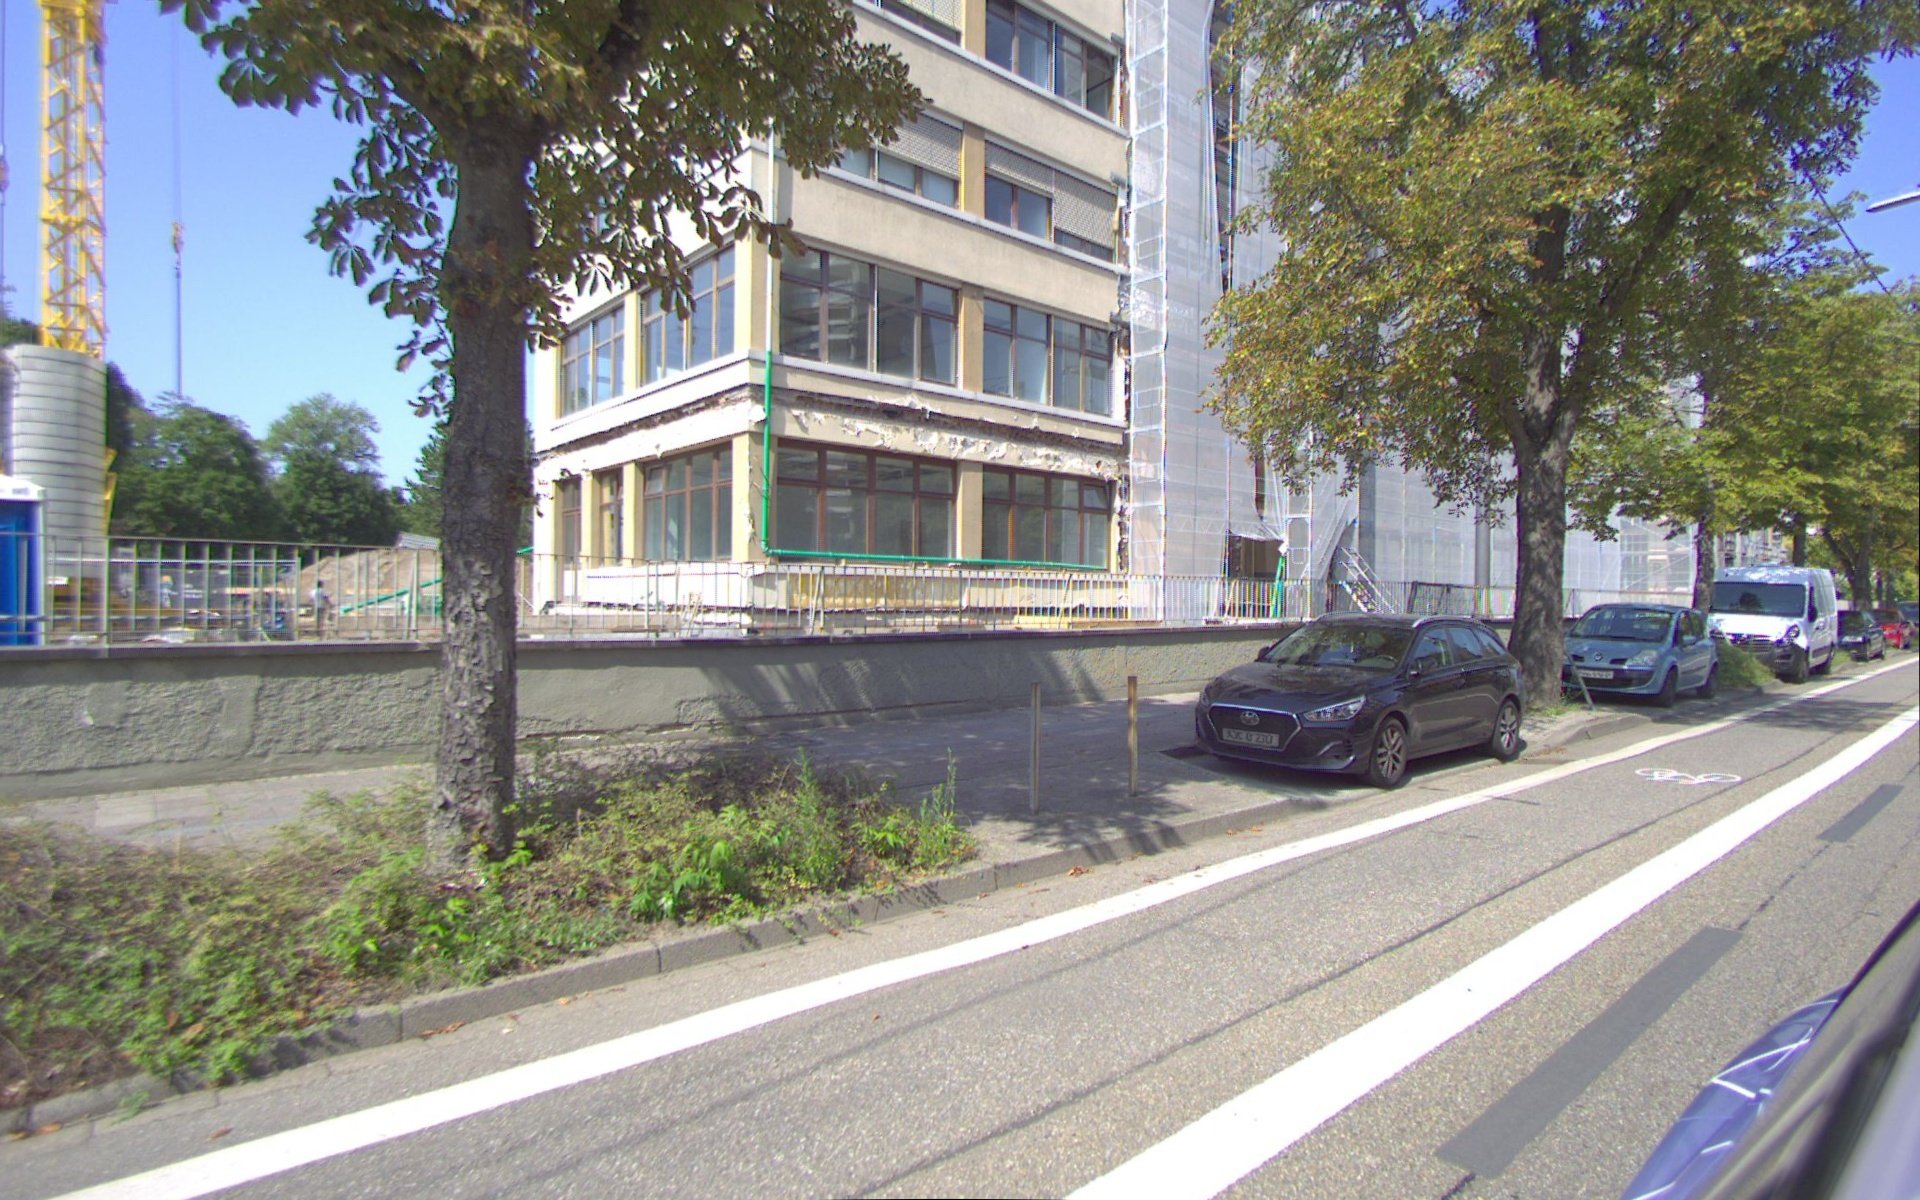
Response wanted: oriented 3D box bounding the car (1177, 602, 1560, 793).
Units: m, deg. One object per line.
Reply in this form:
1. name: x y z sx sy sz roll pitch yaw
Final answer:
1. car: 4.281 0.780 10.204 4.582 1.476 1.677 0 1 -41

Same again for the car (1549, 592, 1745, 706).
1. car: 11.489 0.706 16.835 4.099 1.599 1.677 -1 2 -41

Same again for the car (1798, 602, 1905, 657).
1. car: 25.936 0.797 29.382 4.719 1.458 1.688 0 0 -41

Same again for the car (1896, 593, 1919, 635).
1. car: 41.495 0.578 43.281 4.569 1.710 1.764 0 0 -42

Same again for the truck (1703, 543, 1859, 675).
1. truck: 18.548 0.167 22.760 5.497 2.632 1.919 0 0 -42

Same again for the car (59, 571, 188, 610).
1. car: -35.148 -0.395 42.603 3.837 1.547 1.880 0 0 -1

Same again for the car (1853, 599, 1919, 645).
1. car: 33.630 0.756 36.488 4.060 1.519 1.688 0 0 -41
